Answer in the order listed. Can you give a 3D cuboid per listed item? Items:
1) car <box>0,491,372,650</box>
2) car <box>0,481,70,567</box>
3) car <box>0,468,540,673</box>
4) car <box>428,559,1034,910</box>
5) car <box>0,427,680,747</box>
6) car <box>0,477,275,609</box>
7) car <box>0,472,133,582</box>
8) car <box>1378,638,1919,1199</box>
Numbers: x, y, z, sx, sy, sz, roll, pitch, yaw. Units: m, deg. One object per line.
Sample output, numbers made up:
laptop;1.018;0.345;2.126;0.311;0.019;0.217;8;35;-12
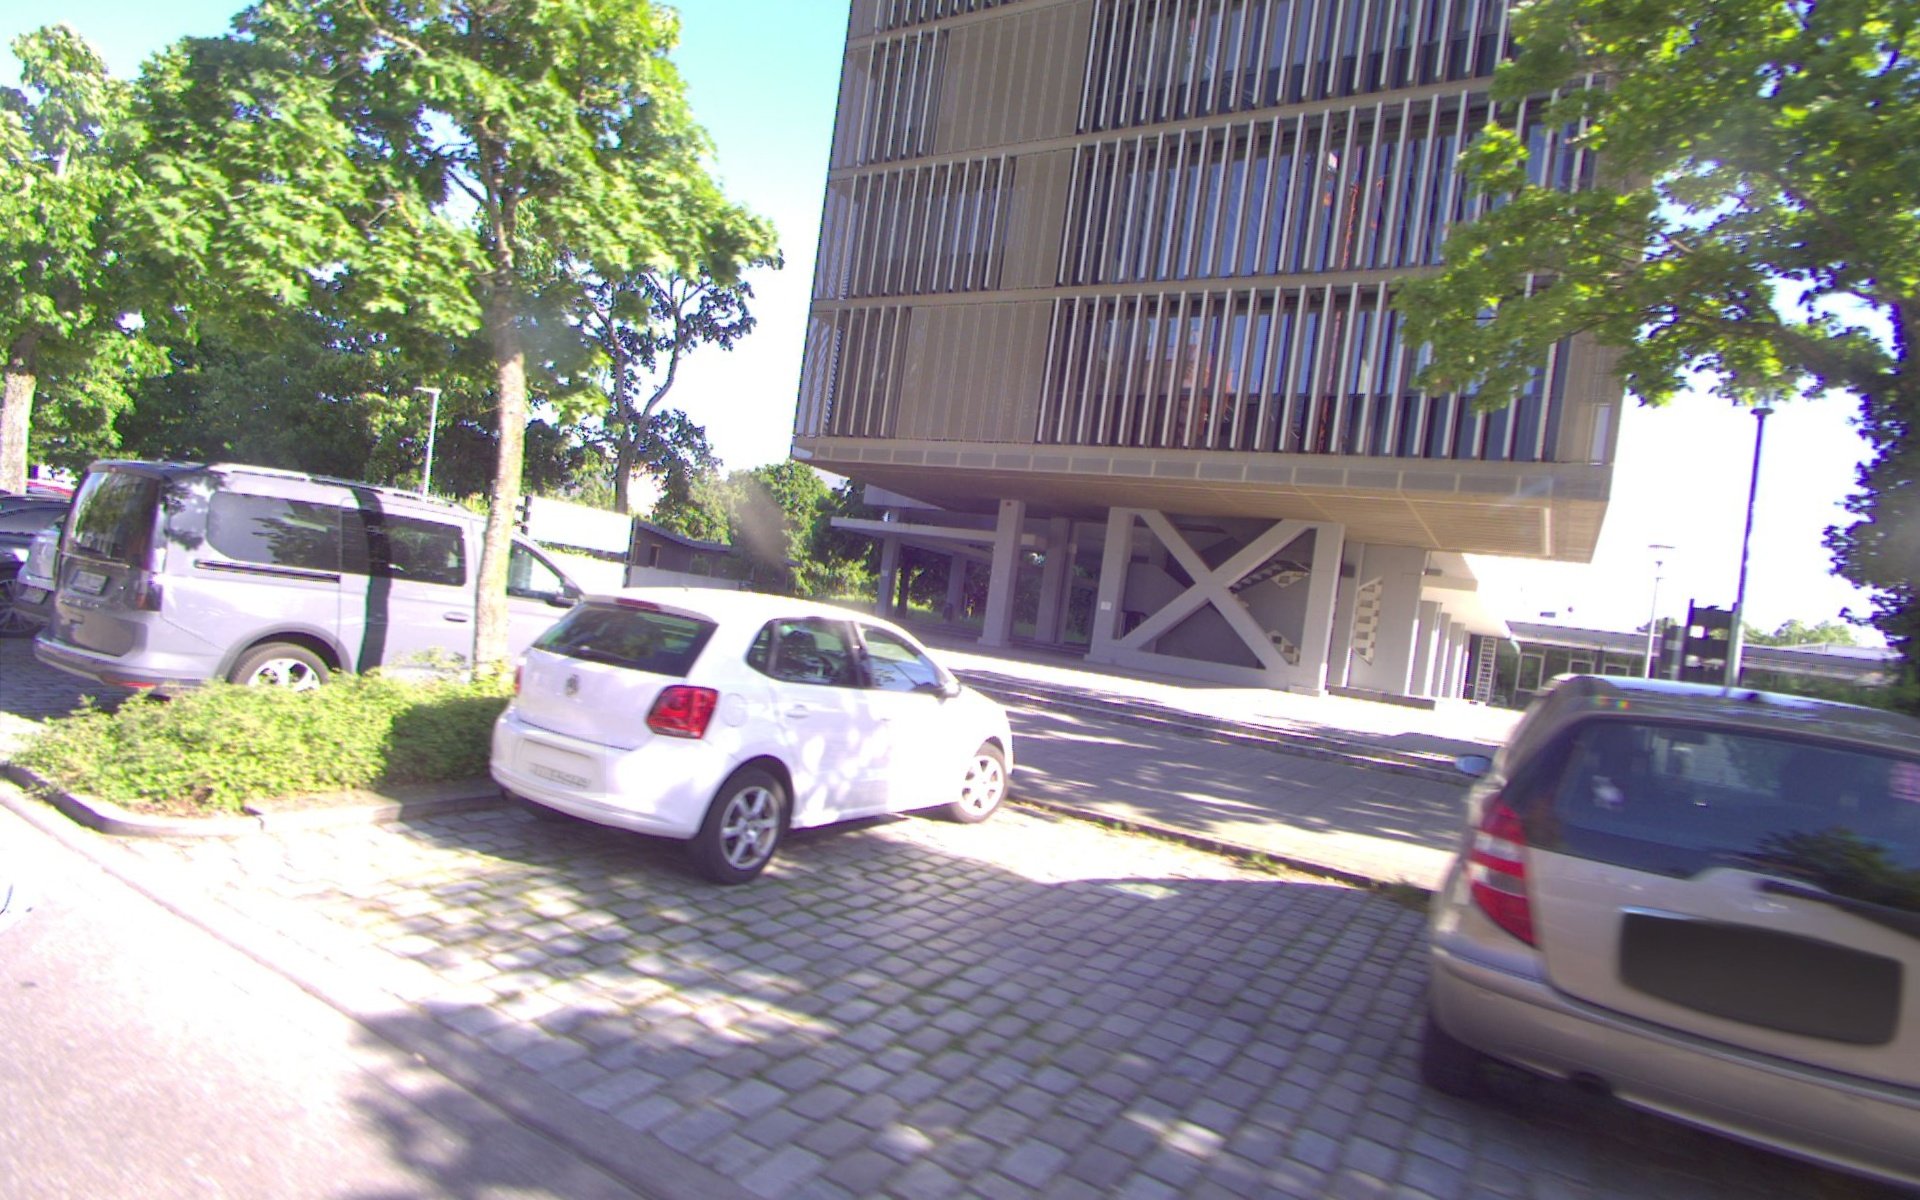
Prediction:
car;-9.532;-0.347;11.438;2.040;1.426;4.408;7;0;31
car;-19.020;-1.627;17.854;1.864;1.481;4.408;7;0;31
car;-7.077;-0.176;10.635;2.040;1.576;4.408;7;0;31
car;-1.132;0.717;6.491;1.648;1.439;3.648;7;0;30
car;-4.835;-0.009;8.494;2.040;1.915;4.408;7;0;31
car;-13.082;-0.878;14.897;1.845;1.555;4.408;7;0;31
car;-17.024;-1.418;16.827;2.040;1.661;4.408;7;0;31
car;3.063;1.129;4.475;1.647;1.588;3.714;7;0;29
